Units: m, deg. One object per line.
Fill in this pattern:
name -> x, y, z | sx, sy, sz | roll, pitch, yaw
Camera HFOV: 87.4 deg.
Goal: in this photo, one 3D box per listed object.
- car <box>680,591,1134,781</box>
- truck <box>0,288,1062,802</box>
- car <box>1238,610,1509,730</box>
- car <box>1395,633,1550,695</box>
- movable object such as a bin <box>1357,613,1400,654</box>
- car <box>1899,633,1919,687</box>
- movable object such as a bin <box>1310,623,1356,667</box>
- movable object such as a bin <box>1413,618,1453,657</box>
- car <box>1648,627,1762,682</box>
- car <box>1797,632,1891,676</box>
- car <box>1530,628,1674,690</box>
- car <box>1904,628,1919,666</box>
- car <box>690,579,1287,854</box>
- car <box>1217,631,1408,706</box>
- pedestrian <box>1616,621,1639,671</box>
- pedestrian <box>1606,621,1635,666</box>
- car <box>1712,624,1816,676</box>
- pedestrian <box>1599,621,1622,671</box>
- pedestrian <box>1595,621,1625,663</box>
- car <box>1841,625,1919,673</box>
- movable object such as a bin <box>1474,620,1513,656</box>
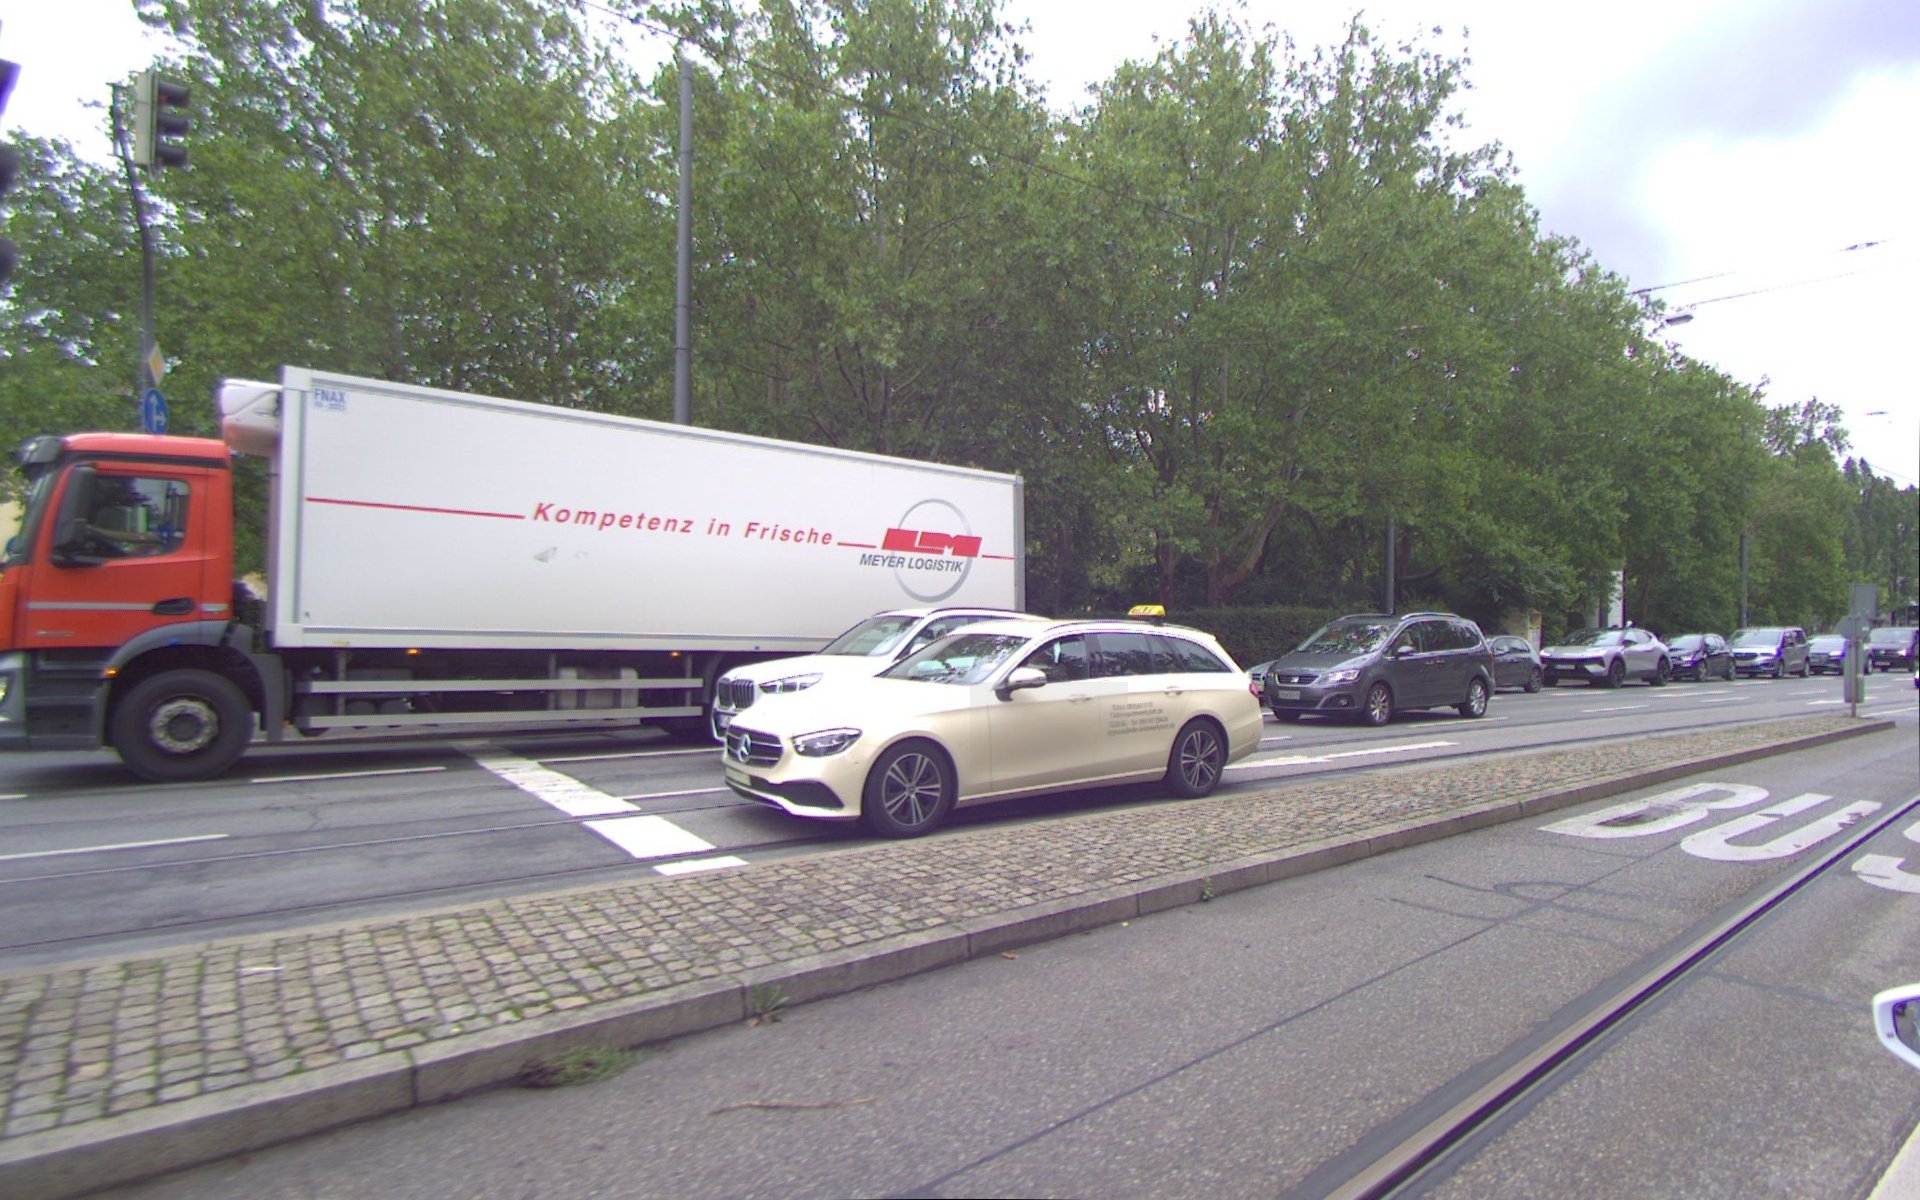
car -> -0.433, 0.835, 11.228 | 4.845, 1.705, 1.901 | 2, -1, -37
truck -> -3.931, -0.255, 12.317 | 11.607, 4.033, 2.720 | 2, -2, -37
car -> 6.863, 1.063, 16.446 | 4.842, 1.705, 1.810 | 2, -1, -35
car -> 12.857, 1.541, 25.133 | 4.058, 1.399, 1.810 | 2, -1, -35
movable object such as a bin -> 14.813, 1.176, 35.546 | 1.119, 1.371, 0.926 | 1, 2, -39
car -> 29.569, 1.773, 29.696 | 4.311, 1.542, 1.788 | 2, -2, -35
movable object such as a bin -> 12.502, 1.497, 33.688 | 1.074, 1.371, 0.926 | 1, 5, -39
movable object such as a bin -> 17.779, 1.411, 37.777 | 1.074, 1.371, 0.926 | 1, 2, -39
car -> 24.598, 1.759, 33.128 | 4.311, 1.689, 1.788 | 2, -2, -35
car -> 35.140, 2.111, 39.906 | 4.542, 1.656, 1.788 | 2, -2, -35
car -> 18.672, 1.670, 29.134 | 4.949, 1.664, 1.788 | 2, -2, -35
car -> 48.049, 2.303, 49.155 | 4.473, 1.812, 1.788 | 2, -3, -35
car -> 0.452, 0.768, 8.266 | 4.845, 1.660, 1.809 | 2, -1, -37
car -> 7.424, 1.407, 21.044 | 4.062, 1.429, 1.720 | 2, -4, -35
pedestrian -> 27.556, 1.893, 41.441 | 0.670, 2.040, 0.583 | 1, -1, -34
pedestrian -> 27.136, 1.803, 41.280 | 0.808, 1.813, 0.662 | 2, 0, -26
car -> 29.242, 1.790, 36.485 | 4.428, 1.803, 1.788 | 2, -2, -35
pedestrian -> 27.198, 1.907, 41.979 | 0.670, 2.040, 0.583 | 1, -1, -34
pedestrian -> 27.187, 1.738, 41.995 | 0.975, 1.707, 0.662 | -1, 1, -26
car -> 41.488, 2.177, 45.093 | 4.988, 2.017, 1.788 | 2, -2, -35
movable object such as a bin -> 21.258, 1.504, 40.025 | 1.149, 1.371, 0.926 | 1, 2, -39
